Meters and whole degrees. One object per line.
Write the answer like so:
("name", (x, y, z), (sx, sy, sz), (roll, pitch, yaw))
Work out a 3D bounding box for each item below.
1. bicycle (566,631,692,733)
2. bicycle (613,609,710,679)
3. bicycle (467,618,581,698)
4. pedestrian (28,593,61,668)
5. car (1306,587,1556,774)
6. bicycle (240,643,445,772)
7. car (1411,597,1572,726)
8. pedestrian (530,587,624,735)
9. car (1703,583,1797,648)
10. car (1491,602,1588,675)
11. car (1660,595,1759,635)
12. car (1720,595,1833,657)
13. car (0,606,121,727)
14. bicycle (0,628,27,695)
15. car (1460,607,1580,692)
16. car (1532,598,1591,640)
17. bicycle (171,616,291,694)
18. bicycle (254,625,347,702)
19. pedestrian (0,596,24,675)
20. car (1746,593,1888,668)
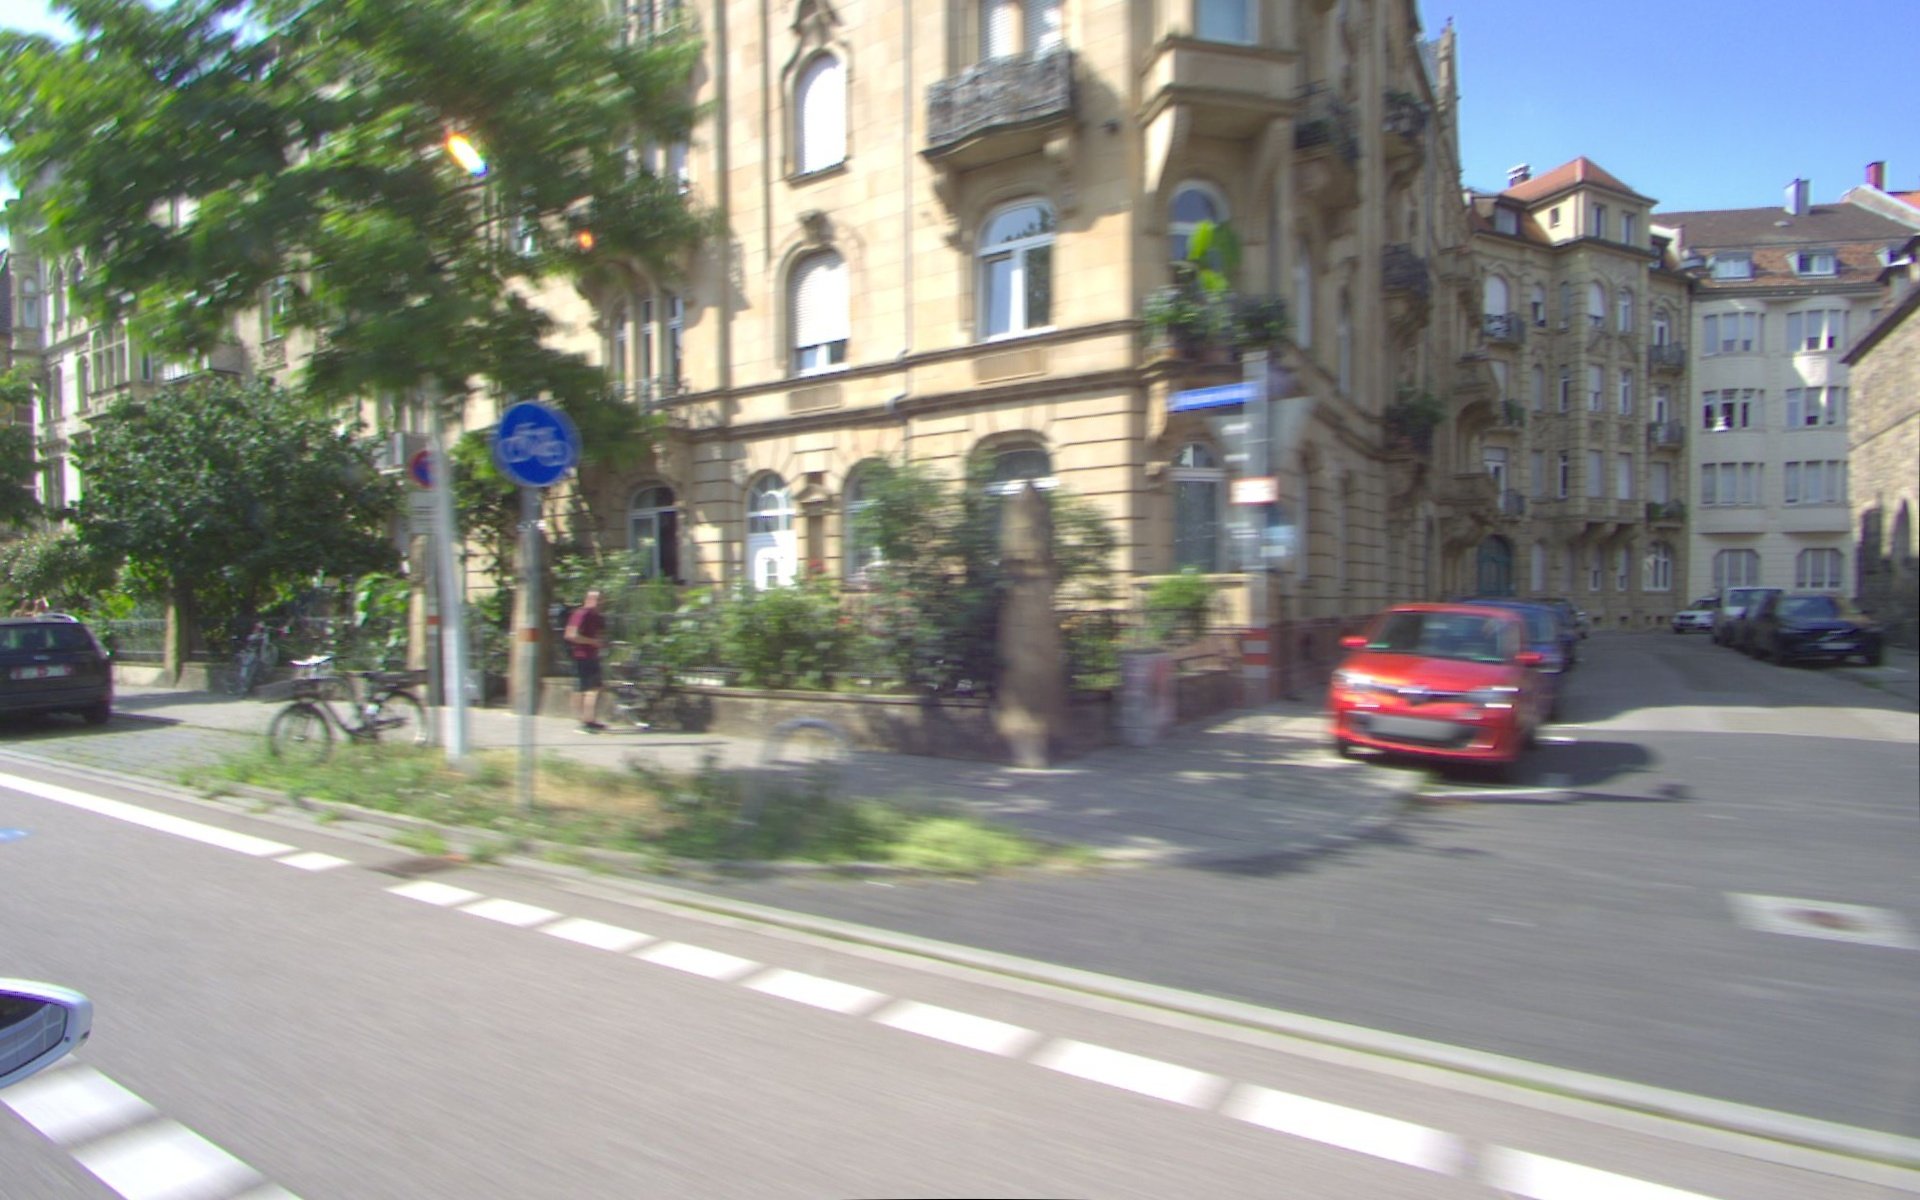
("bicycle", (-3.961, 0.944, 11.923), (1.687, 1.123, 0.469), (-1, 0, 33))
("bicycle", (-5.354, 0.762, 18.078), (0.464, 1.084, 1.886), (0, 3, 27))
("bicycle", (-6.807, 0.877, 15.729), (0.464, 1.084, 1.704), (0, 3, 27))
("pedestrian", (-21.400, 0.706, 23.404), (0.425, 1.730, 0.383), (0, 3, 32))
("car", (5.054, 0.698, 10.481), (1.734, 1.576, 3.730), (0, 0, 36))
("bicycle", (-5.928, 0.988, 9.726), (0.464, 1.083, 1.705), (0, 0, 27))
("car", (8.073, 0.797, 15.004), (1.806, 1.638, 4.246), (0, 0, 33))
("pedestrian", (-4.441, 0.682, 11.625), (0.714, 1.650, 0.721), (0, 1, 33))
("car", (25.558, 0.503, 32.532), (1.798, 1.897, 4.245), (-3, -2, 31))
("car", (14.048, 0.862, 24.181), (1.667, 1.565, 3.796), (0, 1, 36))
("car", (33.488, 0.668, 44.714), (4.200, 1.575, 1.818), (-2, -1, -27))
("car", (22.938, 0.718, 28.284), (1.798, 1.575, 4.245), (-3, -2, 31))
("car", (-13.748, 0.858, 14.115), (4.642, 1.522, 1.682), (-1, 0, 33))
("bicycle", (-18.846, 1.166, 18.043), (0.779, 1.262, 2.950), (0, 0, 20))
("car", (11.226, 0.907, 19.956), (1.692, 1.468, 3.652), (0, 1, 36))
("car", (23.234, 0.710, 38.635), (1.667, 1.483, 3.796), (0, 1, 36))
("bicycle", (-12.935, 0.939, 17.720), (2.901, 1.266, 0.656), (-1, 3, 33))
("bicycle", (-10.624, 0.992, 16.106), (1.995, 1.155, 0.426), (-1, 3, 33))
("pedestrian", (-20.964, 0.776, 21.807), (0.564, 1.699, 0.529), (-1, 3, 14))
("car", (20.185, 0.698, 23.771), (1.798, 1.575, 4.245), (-3, -2, 31))
